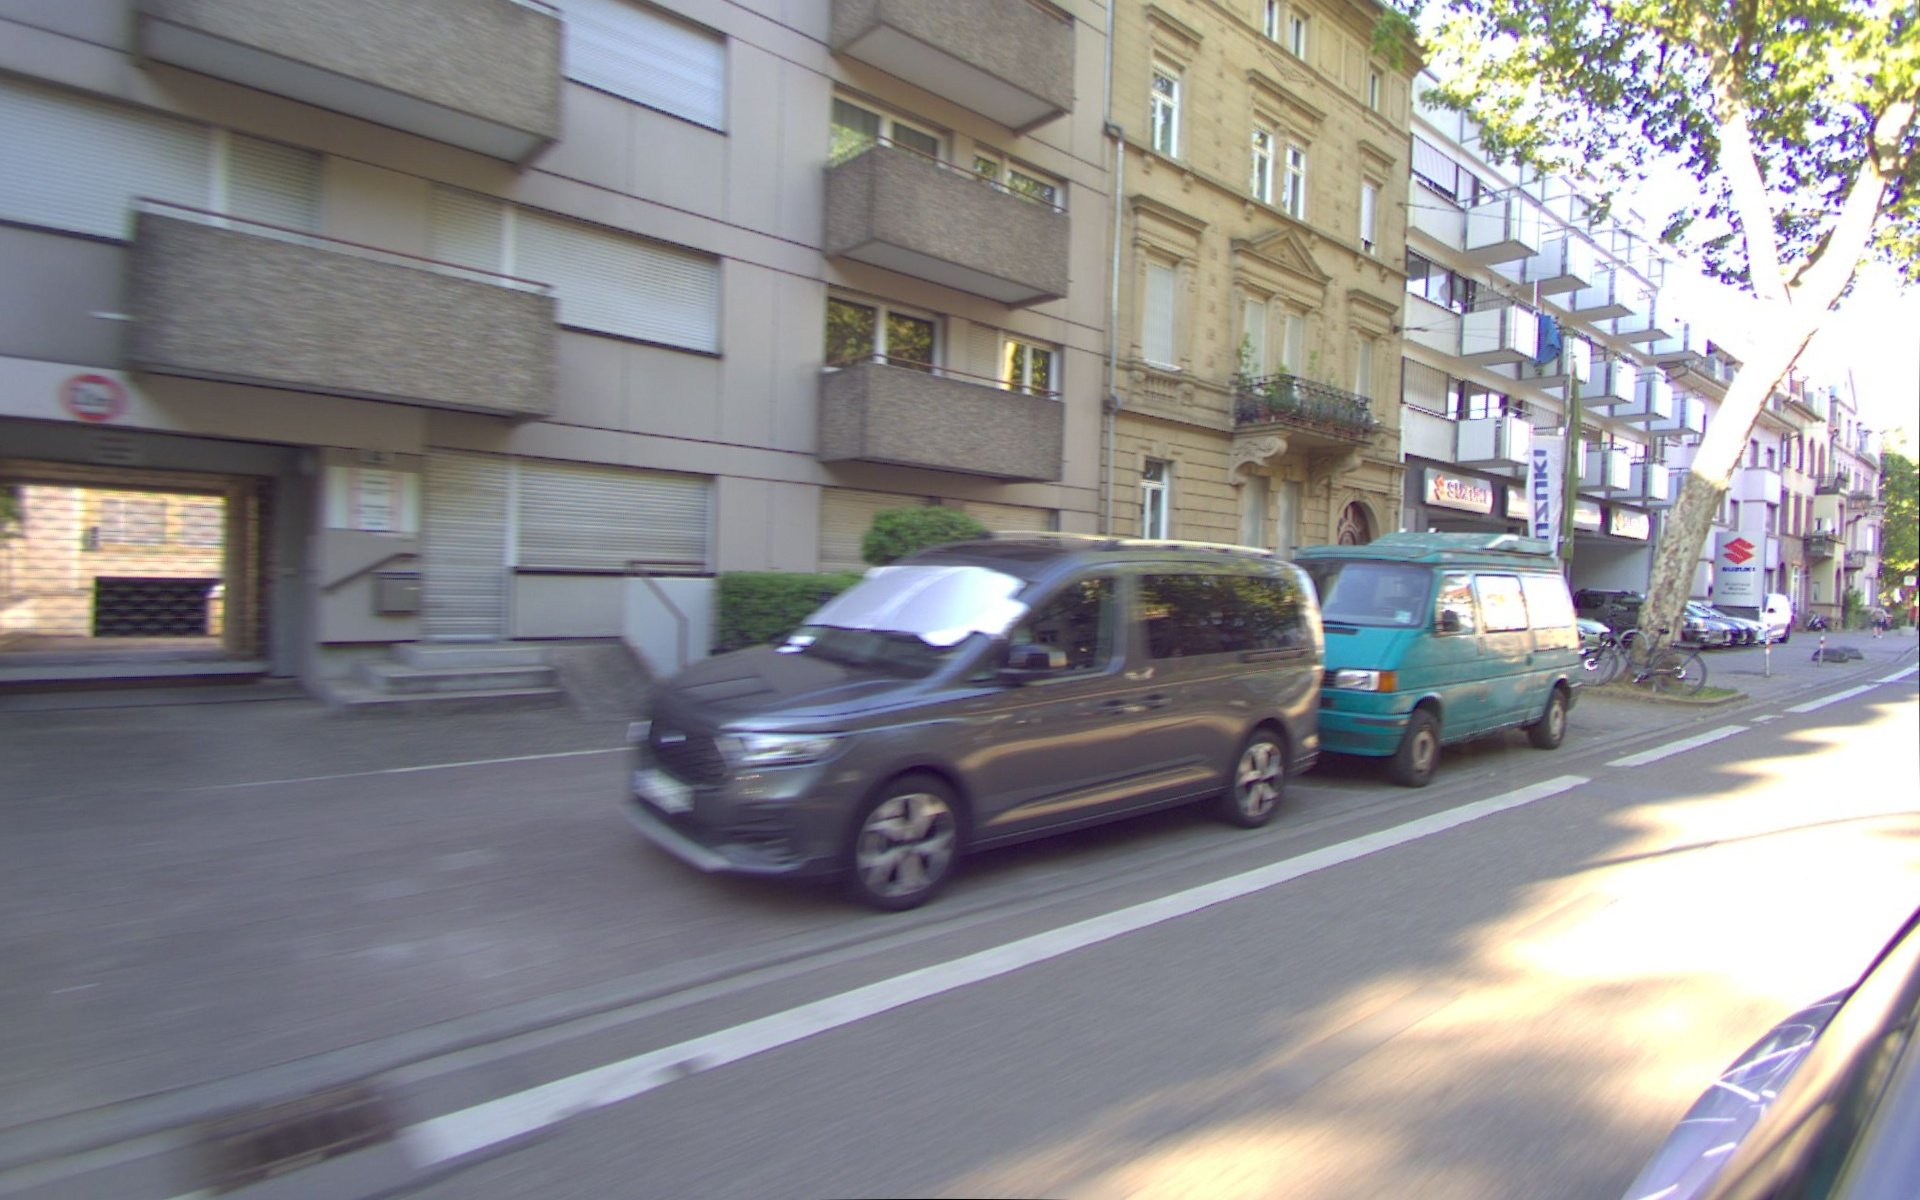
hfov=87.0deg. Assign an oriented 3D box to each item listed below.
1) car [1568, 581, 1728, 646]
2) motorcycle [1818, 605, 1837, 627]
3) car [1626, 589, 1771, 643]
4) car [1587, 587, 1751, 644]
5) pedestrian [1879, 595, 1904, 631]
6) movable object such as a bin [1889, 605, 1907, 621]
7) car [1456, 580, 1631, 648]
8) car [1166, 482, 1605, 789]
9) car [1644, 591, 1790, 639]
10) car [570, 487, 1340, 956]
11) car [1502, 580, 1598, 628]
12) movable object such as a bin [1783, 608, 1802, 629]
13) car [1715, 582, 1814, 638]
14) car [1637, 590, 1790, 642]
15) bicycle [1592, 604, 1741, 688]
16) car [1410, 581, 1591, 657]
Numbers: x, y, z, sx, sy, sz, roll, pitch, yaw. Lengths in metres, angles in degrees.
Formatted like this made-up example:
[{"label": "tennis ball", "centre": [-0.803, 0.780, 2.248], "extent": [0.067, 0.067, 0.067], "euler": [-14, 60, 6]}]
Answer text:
[{"label": "car", "centre": [20.423, 0.369, 30.142], "extent": [1.651, 1.741, 3.590], "euler": [2, 1, -39]}, {"label": "motorcycle", "centre": [49.660, 0.902, 57.921], "extent": [0.590, 1.151, 2.465], "euler": [2, 2, 45]}, {"label": "car", "centre": [23.718, 0.479, 32.598], "extent": [1.709, 1.544, 3.427], "euler": [1, 2, -39]}, {"label": "car", "centre": [21.951, 0.442, 31.430], "extent": [1.827, 1.560, 3.825], "euler": [0, 2, -42]}, {"label": "pedestrian", "centre": [48.879, 0.655, 53.126], "extent": [1.131, 1.835, 0.830], "euler": [-1, 2, -42]}, {"label": "movable object such as a bin", "centre": [63.184, 0.882, 68.171], "extent": [0.646, 1.059, 0.659], "euler": [0, 2, -28]}, {"label": "car", "centre": [14.736, 0.286, 25.680], "extent": [1.725, 1.537, 3.427], "euler": [-1, 2, -38]}, {"label": "car", "centre": [4.420, 0.199, 10.016], "extent": [5.146, 2.285, 1.997], "euler": [-1, 2, -42]}, {"label": "car", "centre": [26.937, 0.522, 36.091], "extent": [1.879, 1.520, 3.820], "euler": [2, 1, -40]}, {"label": "car", "centre": [0.276, 0.418, 6.309], "extent": [4.676, 1.852, 1.997], "euler": [-1, 2, -42]}, {"label": "car", "centre": [20.887, 0.099, 35.948], "extent": [1.477, 1.582, 3.347], "euler": [2, 1, 2]}, {"label": "movable object such as a bin", "centre": [39.590, 0.870, 48.130], "extent": [0.574, 0.981, 0.555], "euler": [0, 2, -39]}, {"label": "car", "centre": [30.858, 0.309, 38.770], "extent": [4.811, 1.972, 1.898], "euler": [-1, 2, -38]}, {"label": "car", "centre": [25.428, 0.504, 34.223], "extent": [1.778, 1.533, 3.874], "euler": [1, 1, -42]}, {"label": "bicycle", "centre": [10.923, 0.684, 15.704], "extent": [0.342, 1.157, 1.848], "euler": [0, 2, -41]}, {"label": "car", "centre": [12.467, 0.374, 23.465], "extent": [1.418, 1.565, 3.422], "euler": [-1, 2, -43]}]
